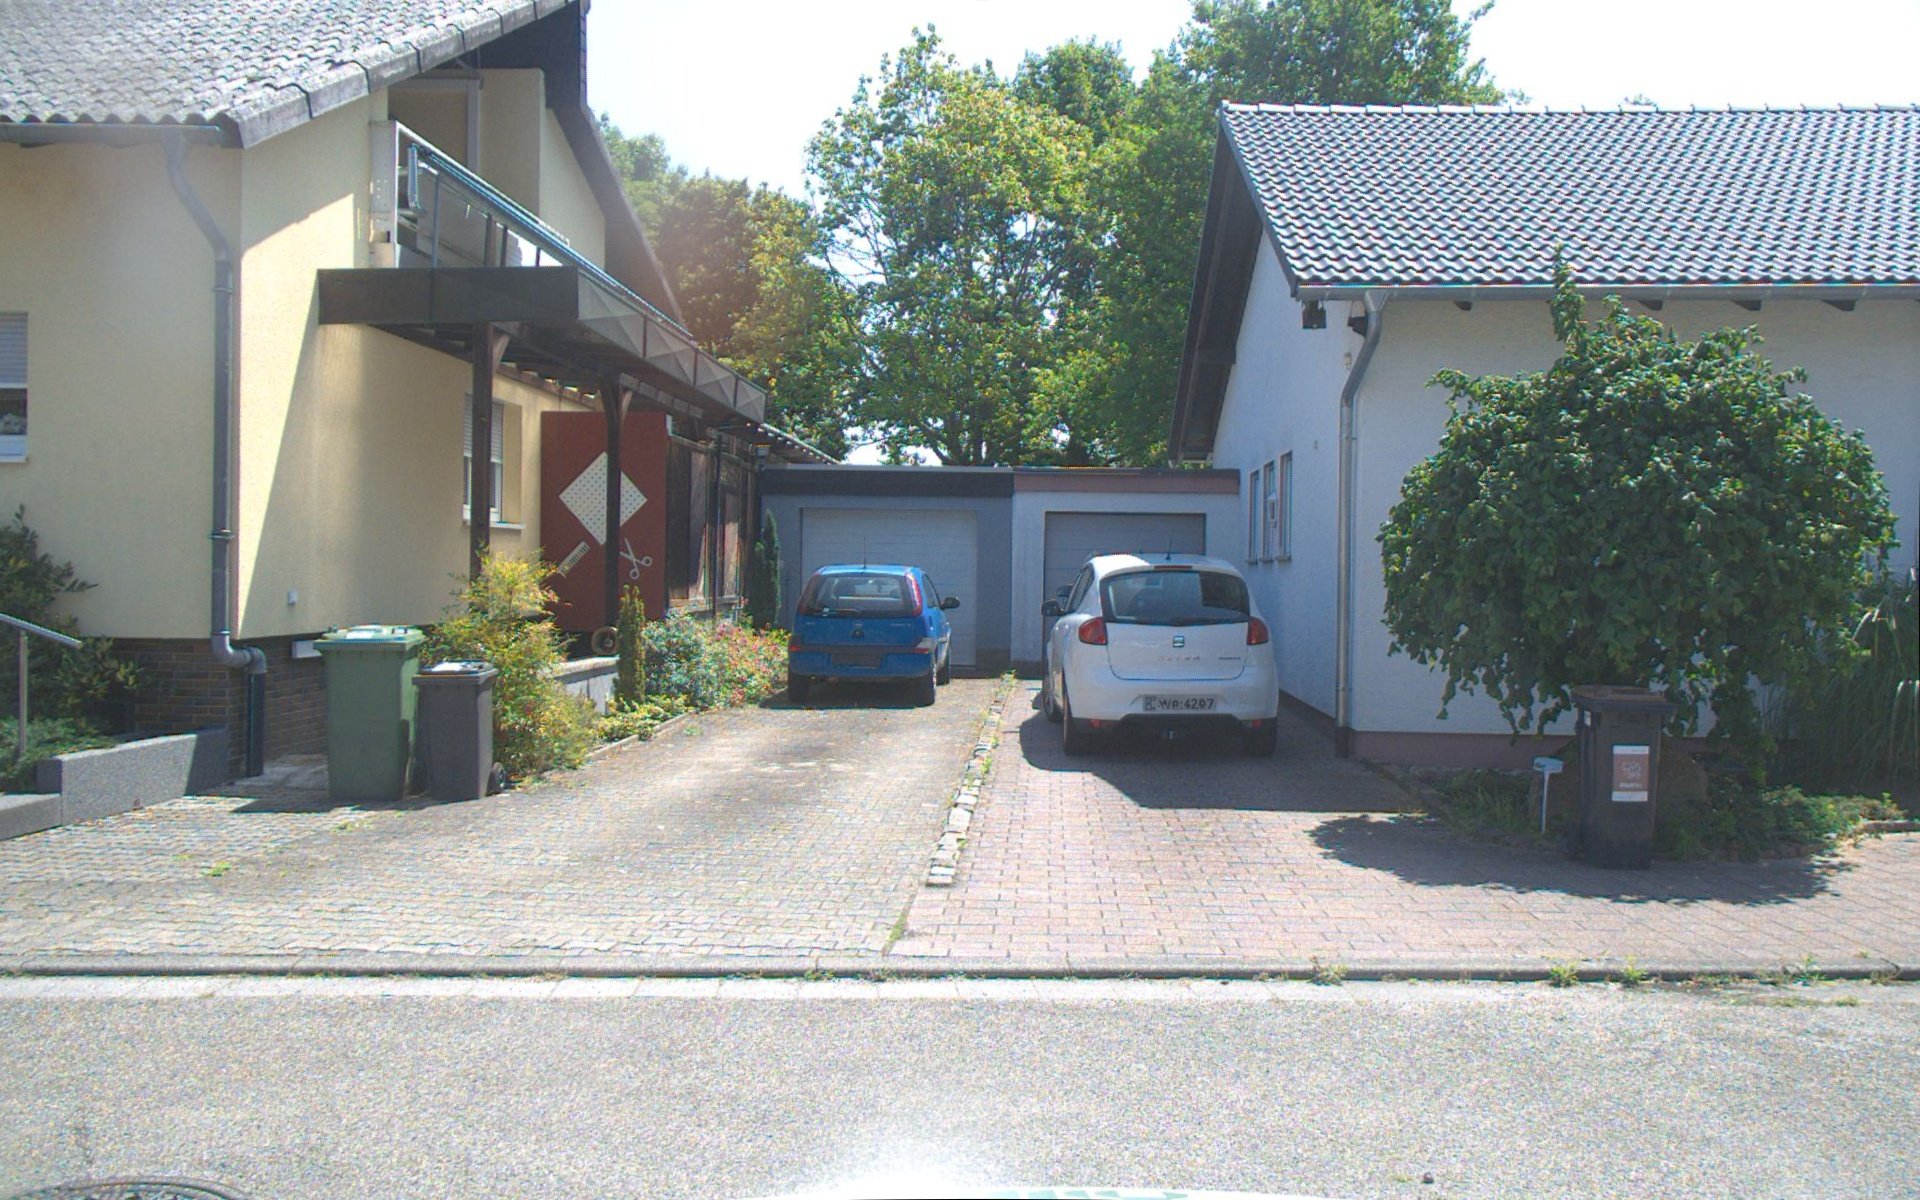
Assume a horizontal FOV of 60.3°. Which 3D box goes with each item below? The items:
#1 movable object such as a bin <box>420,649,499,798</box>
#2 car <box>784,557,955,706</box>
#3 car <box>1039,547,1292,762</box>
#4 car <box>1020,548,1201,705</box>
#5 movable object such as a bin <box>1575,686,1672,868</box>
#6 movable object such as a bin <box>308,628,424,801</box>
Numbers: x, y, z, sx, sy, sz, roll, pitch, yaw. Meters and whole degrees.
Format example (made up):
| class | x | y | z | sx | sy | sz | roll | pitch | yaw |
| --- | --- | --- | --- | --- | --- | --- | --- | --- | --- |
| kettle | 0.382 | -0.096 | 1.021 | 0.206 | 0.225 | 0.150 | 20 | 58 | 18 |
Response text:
| class | x | y | z | sx | sy | sz | roll | pitch | yaw |
| --- | --- | --- | --- | --- | --- | --- | --- | --- | --- |
| movable object such as a bin | -3.193 | 0.779 | 10.568 | 0.398 | 0.907 | 0.426 | 0 | 1 | -5 |
| car | -0.952 | 0.283 | 18.880 | 1.581 | 1.480 | 3.256 | 1 | 2 | 3 |
| car | 1.637 | 0.366 | 14.422 | 1.710 | 1.596 | 4.000 | 1 | 1 | 0 |
| car | 1.693 | 0.220 | 19.274 | 1.882 | 1.635 | 4.003 | 0 | 2 | 4 |
| movable object such as a bin | 3.479 | 0.921 | 8.689 | 0.366 | 0.907 | 0.391 | 0 | 1 | 2 |
| movable object such as a bin | -3.782 | 0.719 | 10.555 | 0.579 | 1.059 | 0.491 | 0 | 1 | -4 |
